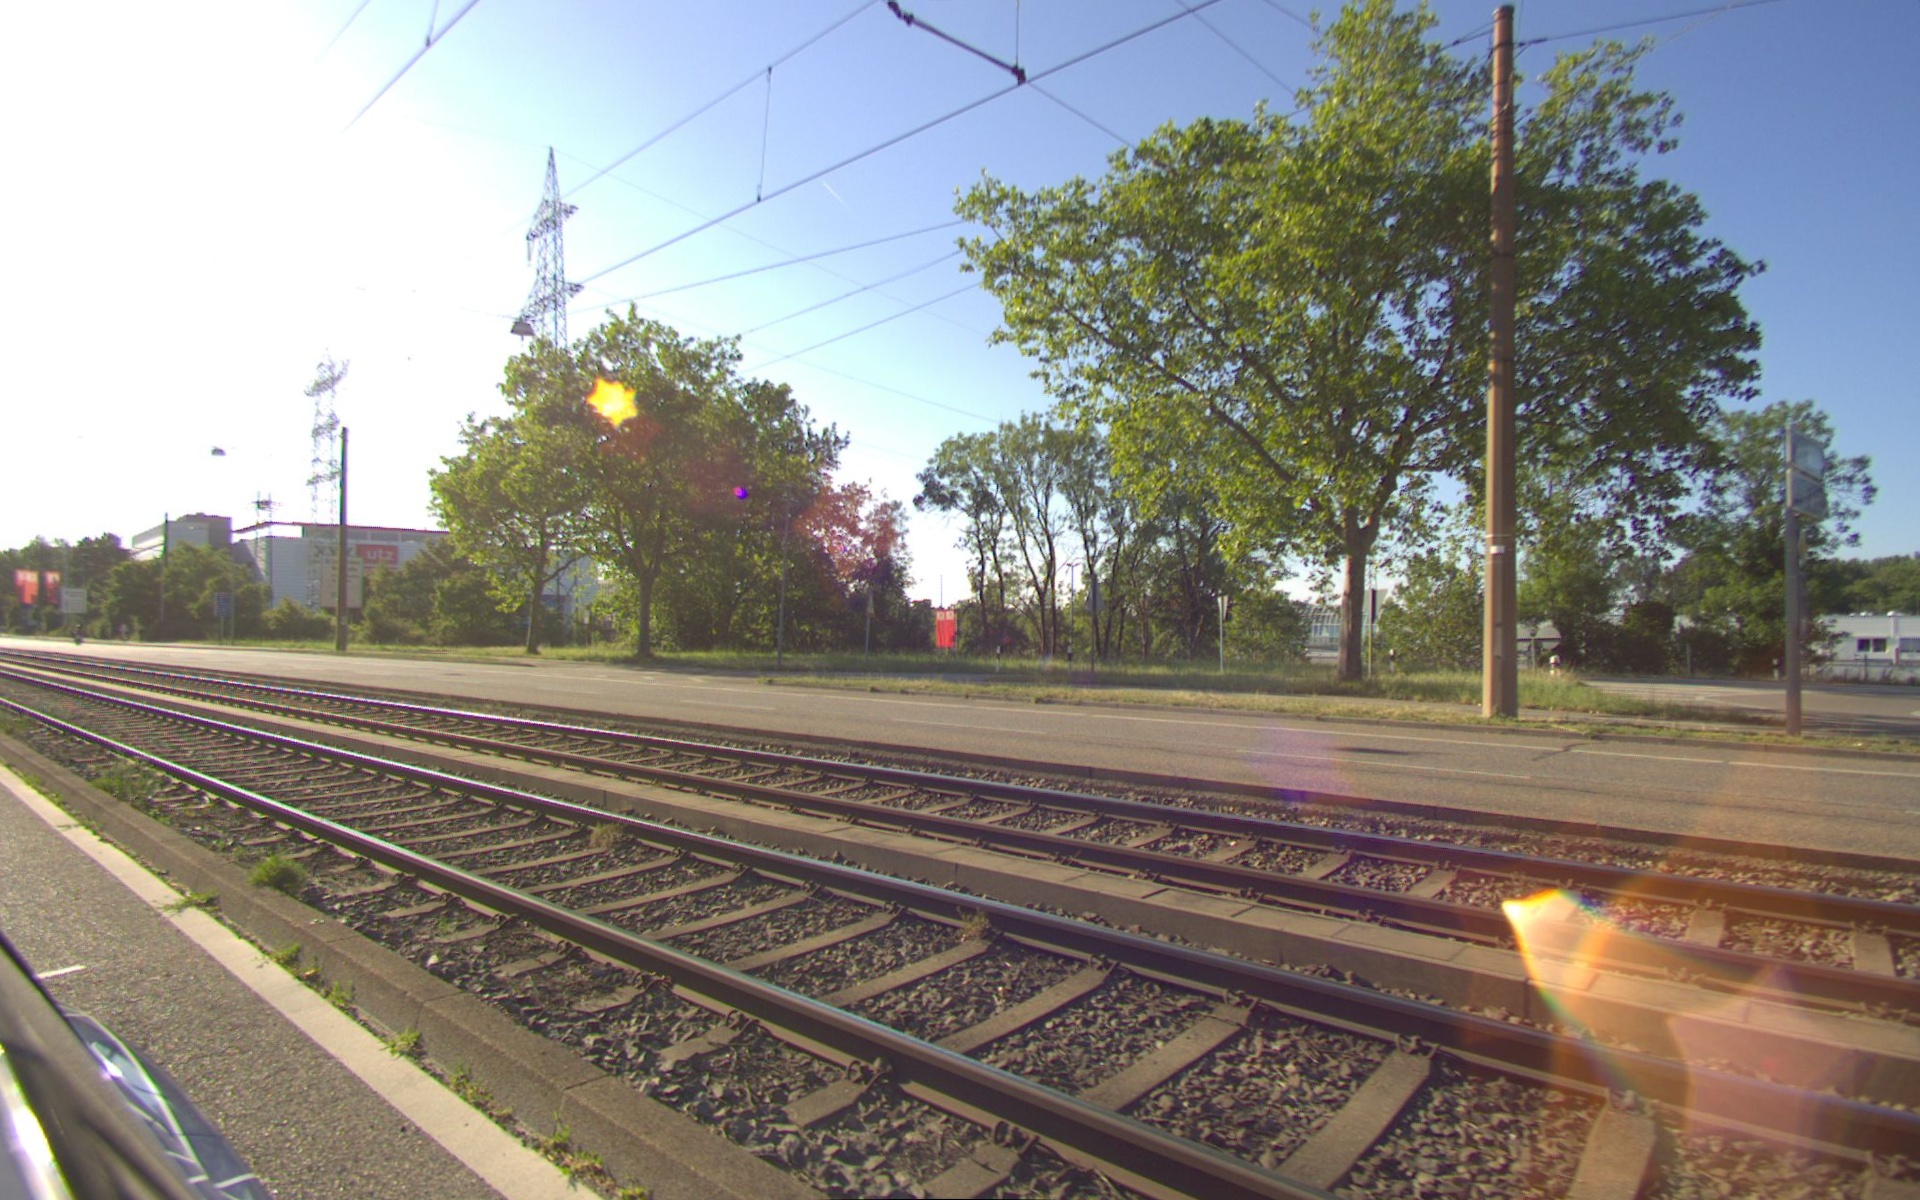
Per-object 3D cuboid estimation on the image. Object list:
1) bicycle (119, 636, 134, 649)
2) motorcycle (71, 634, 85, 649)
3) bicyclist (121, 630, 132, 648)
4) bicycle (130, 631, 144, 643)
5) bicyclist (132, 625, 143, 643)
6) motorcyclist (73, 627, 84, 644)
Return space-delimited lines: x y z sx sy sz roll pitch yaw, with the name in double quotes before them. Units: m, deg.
"bicycle" -73.232 3.734 88.913 2.184 1.029 0.584 -1 -2 41
"motorcycle" -67.878 3.174 77.906 1.901 1.099 0.530 -1 0 41
"bicyclist" -73.161 3.429 88.854 0.966 1.623 0.584 -1 -2 40
"bicycle" -73.340 3.284 90.183 2.184 1.029 0.584 -1 -2 41
"bicyclist" -73.298 3.006 90.155 0.905 1.540 0.584 -1 -2 40
"motorcyclist" -67.849 2.699 77.876 0.804 1.280 0.530 -1 0 41
